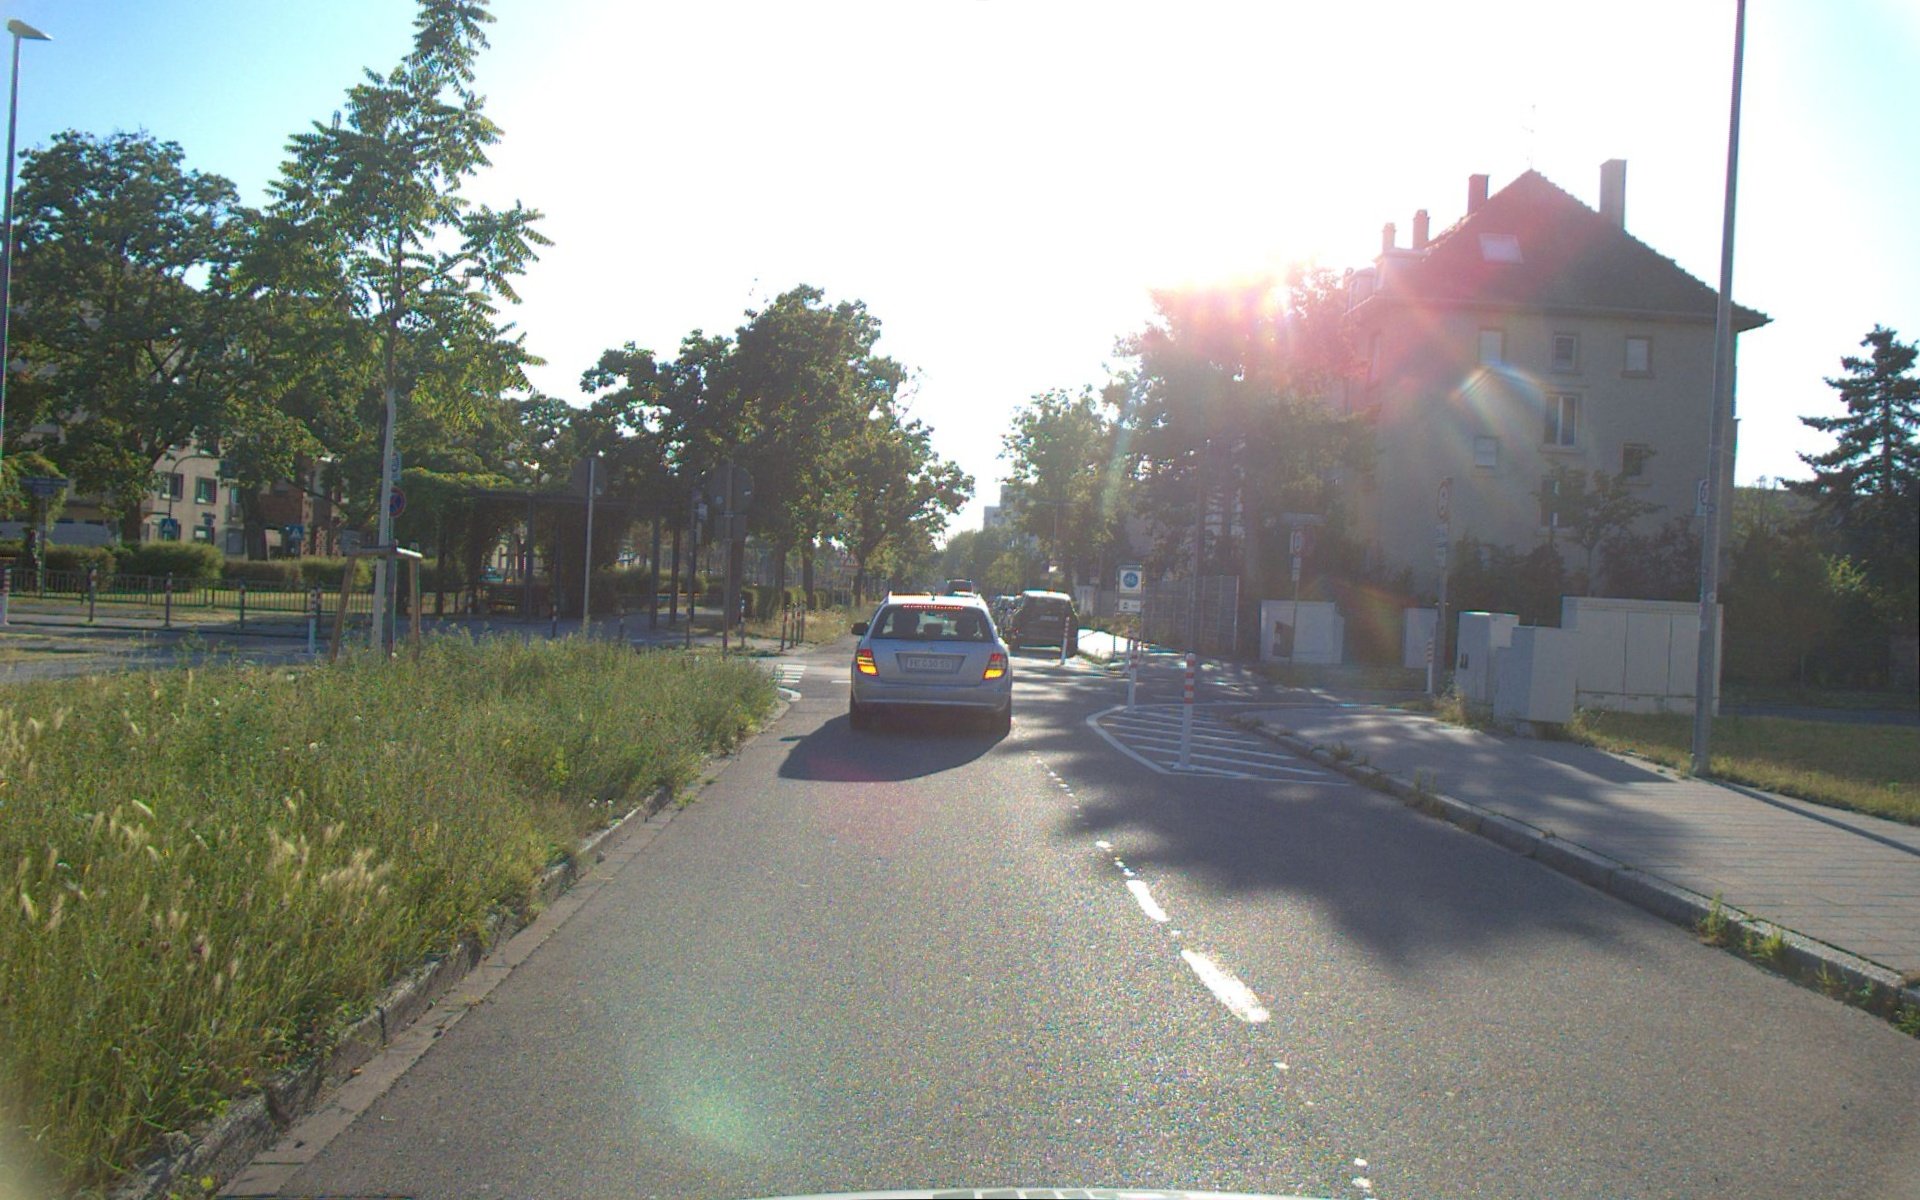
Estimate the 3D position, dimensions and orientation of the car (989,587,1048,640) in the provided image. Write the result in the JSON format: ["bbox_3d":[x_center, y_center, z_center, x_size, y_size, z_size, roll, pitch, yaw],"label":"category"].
[{"bbox_3d":[1.903,0.419,54.812,1.686,1.624,3.999,3,0,-1],"label":"car"}]

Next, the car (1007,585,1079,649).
[{"bbox_3d":[2.243,0.454,45.561,1.686,1.625,3.999,2,-1,-1],"label":"car"}]

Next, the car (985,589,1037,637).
[{"bbox_3d":[1.834,0.453,60.435,1.686,1.624,3.999,3,0,-1],"label":"car"}]

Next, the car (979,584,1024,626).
[{"bbox_3d":[1.699,0.208,69.092,1.686,1.624,3.999,3,0,-1],"label":"car"}]

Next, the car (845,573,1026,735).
[{"bbox_3d":[-0.265,0.514,18.677,1.786,1.594,4.000,1,1,-1],"label":"car"}]

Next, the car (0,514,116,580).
[{"bbox_3d":[-42.404,-2.465,76.040,6.232,2.767,1.981,2,0,-32],"label":"car"}]

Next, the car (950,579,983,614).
[{"bbox_3d":[0.372,-0.225,103.758,1.948,2.058,3.999,3,0,-1],"label":"car"}]

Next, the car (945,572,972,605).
[{"bbox_3d":[-0.149,-0.845,122.043,1.823,2.231,5.069,3,0,-1],"label":"car"}]

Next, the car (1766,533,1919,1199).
[{"bbox_3d":[3.089,0.765,1.941,1.683,1.667,4.560,4,0,-5],"label":"car"}]
